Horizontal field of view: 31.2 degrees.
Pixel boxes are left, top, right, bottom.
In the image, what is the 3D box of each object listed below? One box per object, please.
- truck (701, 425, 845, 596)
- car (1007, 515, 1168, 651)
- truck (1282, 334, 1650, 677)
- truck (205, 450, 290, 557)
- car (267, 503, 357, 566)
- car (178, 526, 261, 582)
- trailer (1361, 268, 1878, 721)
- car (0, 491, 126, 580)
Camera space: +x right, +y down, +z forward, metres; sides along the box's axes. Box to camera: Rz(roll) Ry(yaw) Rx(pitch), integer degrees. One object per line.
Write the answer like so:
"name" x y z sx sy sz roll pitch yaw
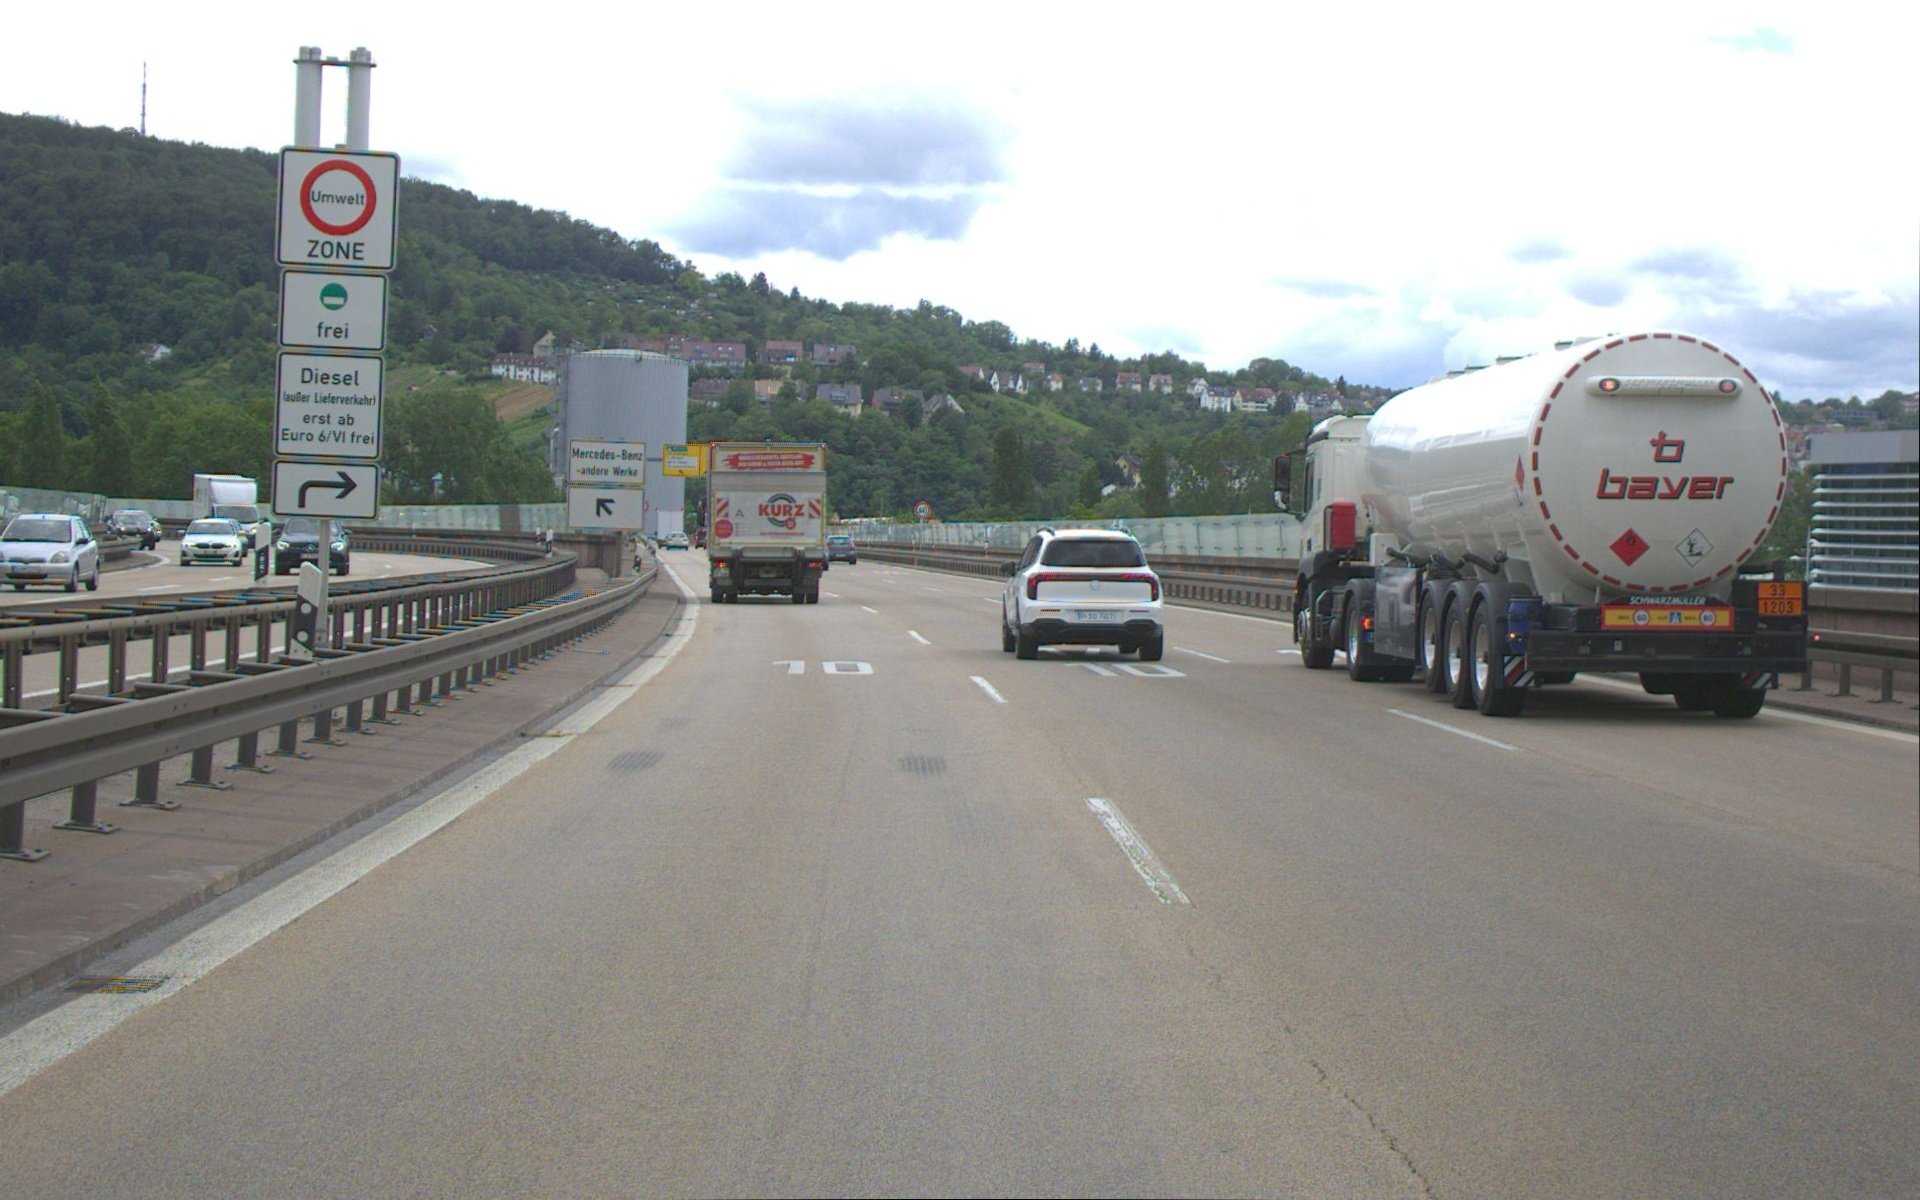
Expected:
"truck" -4.310 -1.986 78.675 3.056 3.678 8.305 1 1 -4
"car" 1.620 -0.232 45.078 1.993 1.669 4.408 1 0 1
"truck" 5.729 -1.036 40.049 3.014 3.644 6.274 1 0 -3
"truck" -31.634 -4.219 152.845 3.056 4.547 8.305 1 1 -7
"car" -17.550 -1.757 93.243 1.993 1.669 4.409 0 1 -5
"car" -22.955 -1.409 106.652 1.993 1.669 4.409 1 0 -5
"trailer" 6.036 -0.928 33.087 3.057 3.777 8.304 1 1 -2
"car" -17.743 -1.253 67.444 1.993 1.669 4.409 1 0 -5
